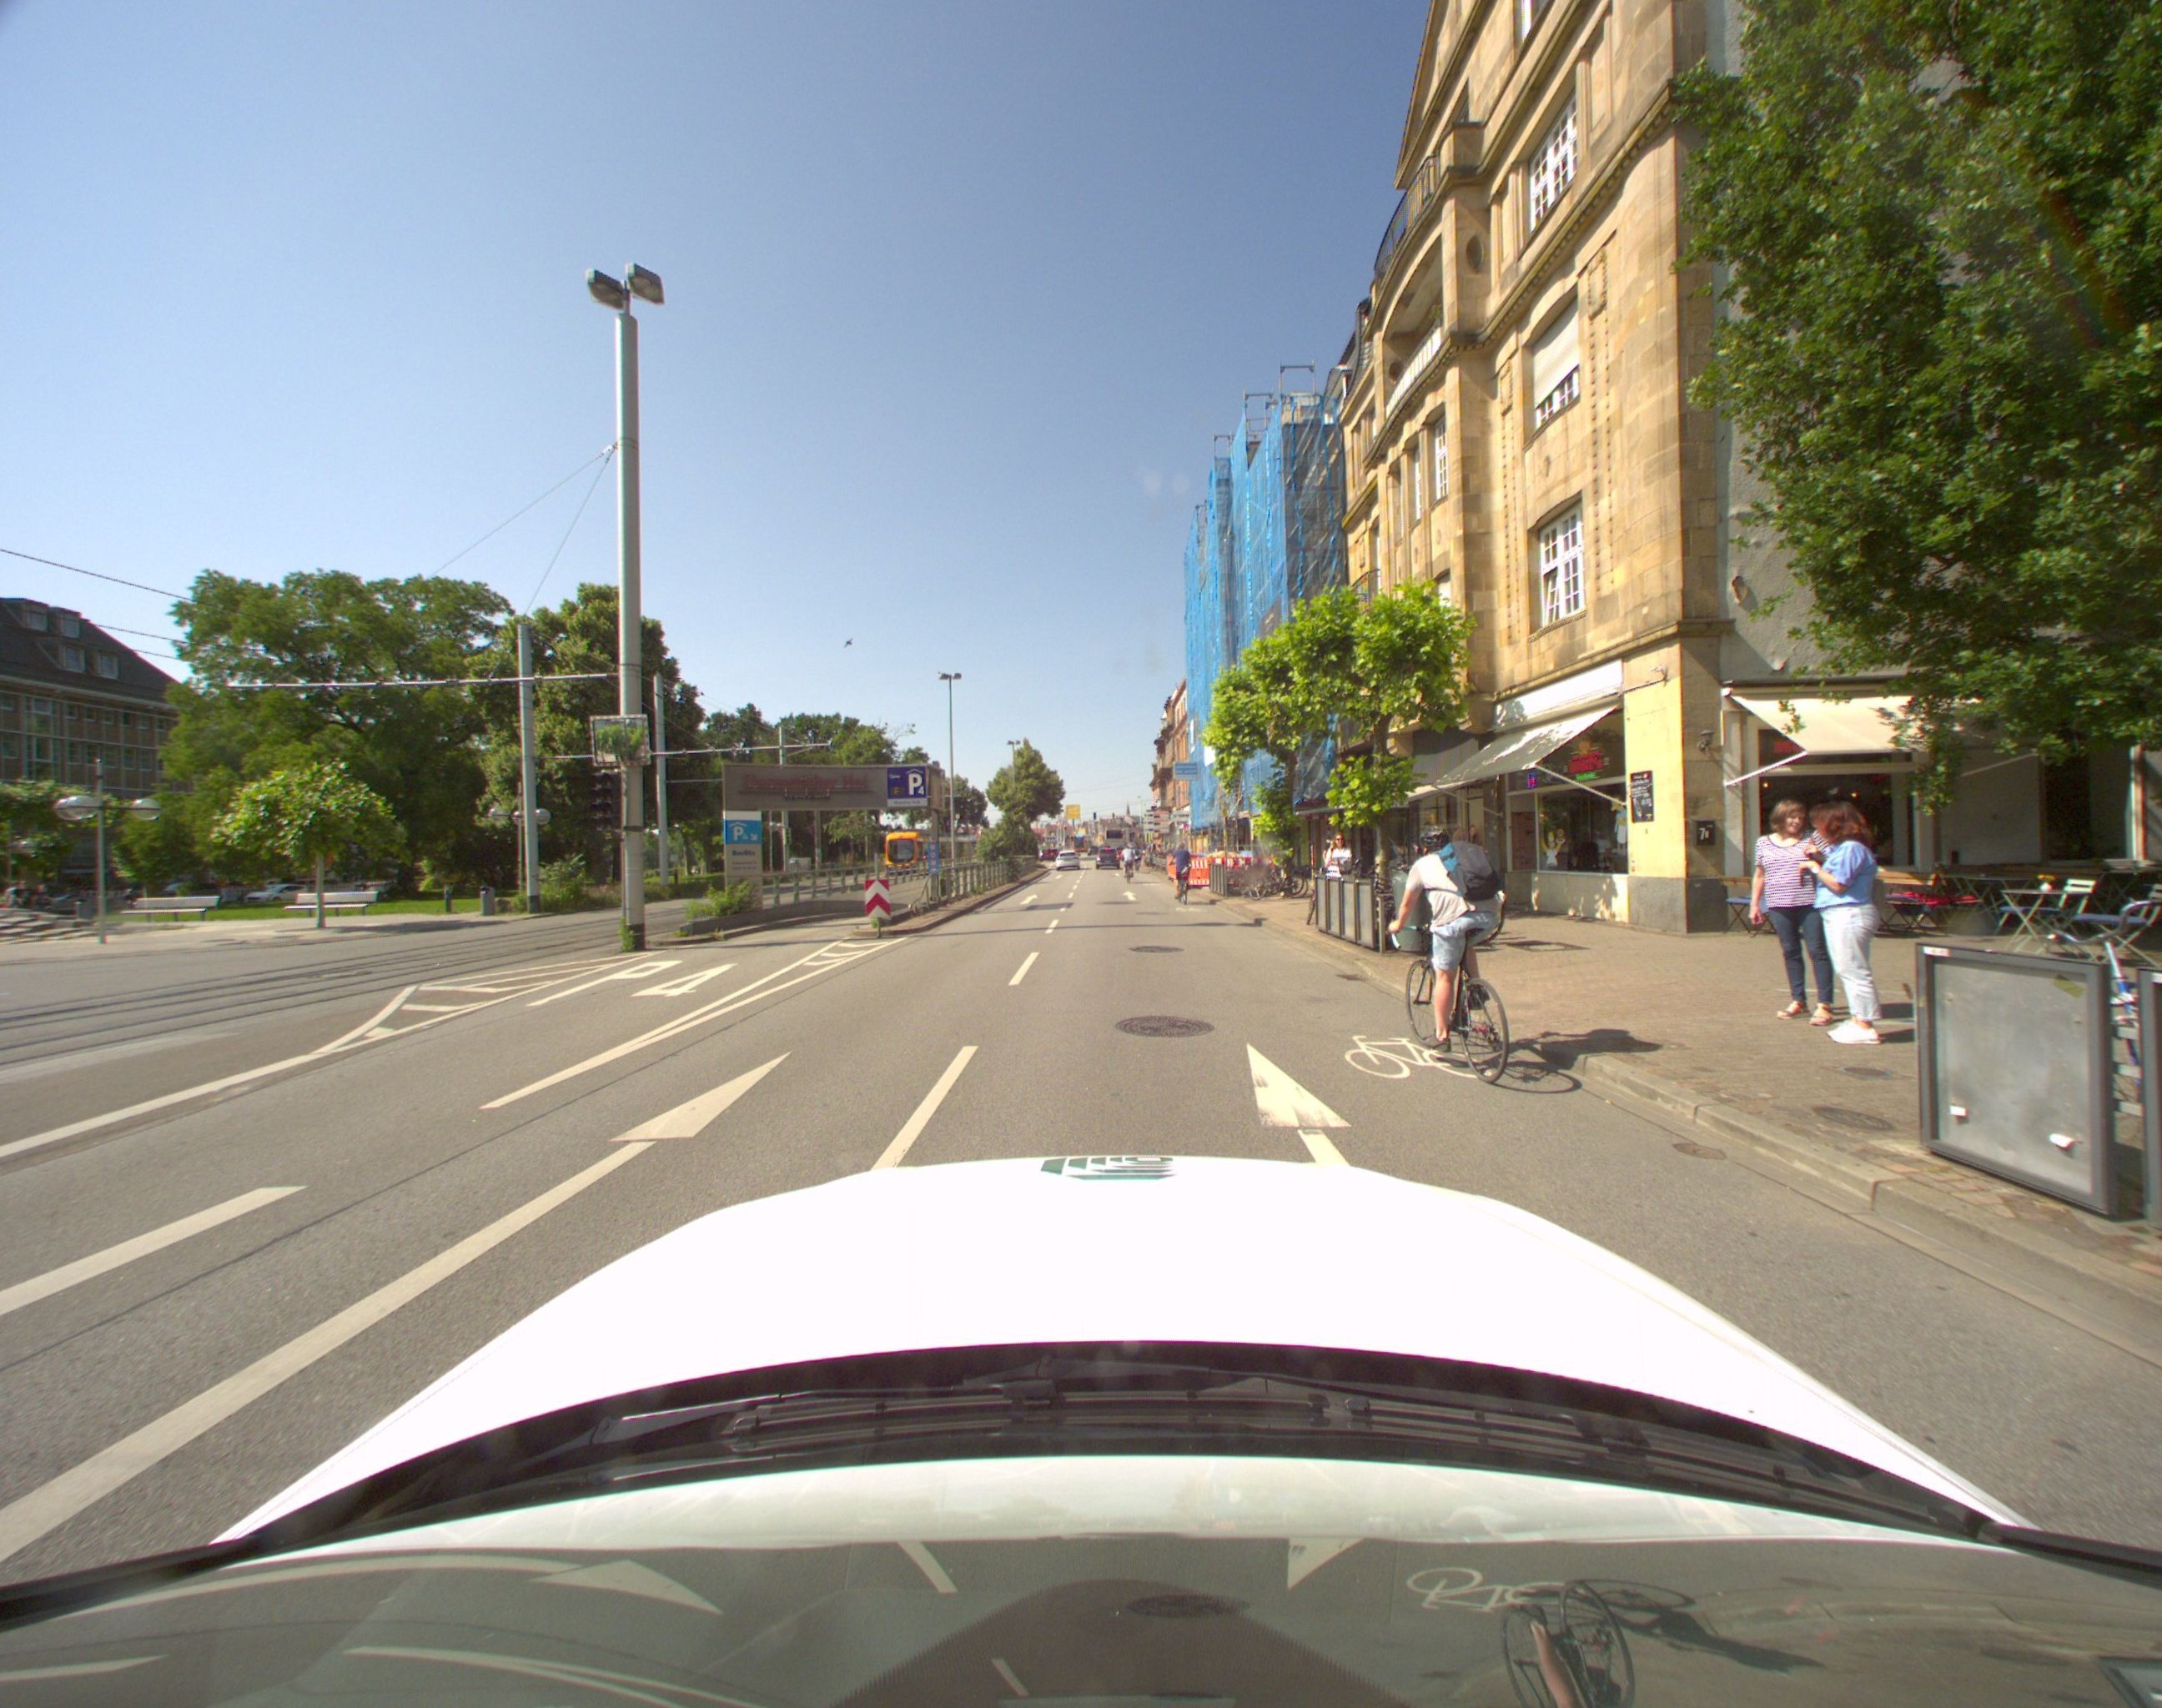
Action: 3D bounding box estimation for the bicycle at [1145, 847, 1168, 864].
[{"bbox_3d":[5.642,0.137,61.191,1.687,1.241,0.609,0,0,1],"label":"bicycle"}]

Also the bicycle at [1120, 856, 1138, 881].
[{"bbox_3d":[2.216,0.667,37.880,0.732,1.093,1.897,0,0,0],"label":"bicycle"}]

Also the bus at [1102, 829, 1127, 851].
[{"bbox_3d":[4.291,-1.723,105.790,2.959,2.776,8.641,0,0,0],"label":"bus"}]

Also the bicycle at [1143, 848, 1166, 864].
[{"bbox_3d":[5.674,0.164,62.979,1.687,1.178,0.451,0,0,1],"label":"bicycle"}]

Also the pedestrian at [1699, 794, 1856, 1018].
[{"bbox_3d":[5.442,0.378,6.389,0.601,1.626,0.640,-4,0,-18],"label":"pedestrian"}]

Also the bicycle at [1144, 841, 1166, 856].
[{"bbox_3d":[5.921,-0.447,65.382,1.687,1.178,0.609,-2,1,1],"label":"bicycle"}]

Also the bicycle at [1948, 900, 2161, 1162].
[{"bbox_3d":[4.934,0.728,3.582,1.747,1.018,0.482,-1,0,-1],"label":"bicycle"}]

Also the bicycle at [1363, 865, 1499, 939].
[{"bbox_3d":[5.203,0.703,12.159,1.747,1.018,0.587,-2,0,-1],"label":"bicycle"}]

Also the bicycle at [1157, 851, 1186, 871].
[{"bbox_3d":[5.364,0.429,48.258,1.687,1.178,0.609,0,0,1],"label":"bicycle"}]

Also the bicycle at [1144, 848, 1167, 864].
[{"bbox_3d":[5.644,0.167,61.811,1.687,1.178,0.497,0,0,1],"label":"bicycle"}]

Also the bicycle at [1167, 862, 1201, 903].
[{"bbox_3d":[2.909,0.782,23.214,0.732,1.093,1.911,0,0,0],"label":"bicycle"}]

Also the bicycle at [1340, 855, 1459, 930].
[{"bbox_3d":[5.300,0.627,13.595,1.747,1.181,0.579,-1,0,-1],"label":"bicycle"}]

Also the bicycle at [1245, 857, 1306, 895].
[{"bbox_3d":[5.666,0.629,23.720,1.758,1.018,0.480,-1,0,-20],"label":"bicycle"}]

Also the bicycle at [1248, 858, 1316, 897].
[{"bbox_3d":[5.576,0.652,22.642,1.747,1.018,0.482,-1,0,-1],"label":"bicycle"}]

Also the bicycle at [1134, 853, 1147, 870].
[{"bbox_3d":[3.733,0.460,51.328,0.731,1.093,1.898,0,0,1],"label":"bicycle"}]

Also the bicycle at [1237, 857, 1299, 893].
[{"bbox_3d":[5.612,0.631,24.526,1.747,1.018,0.482,-1,0,-1],"label":"bicycle"}]

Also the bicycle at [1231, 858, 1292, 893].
[{"bbox_3d":[5.561,0.650,25.125,1.747,1.018,0.482,-1,0,-1],"label":"bicycle"}]

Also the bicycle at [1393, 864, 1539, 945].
[{"bbox_3d":[5.175,0.666,10.988,1.747,1.018,0.482,-1,0,-1],"label":"bicycle"}]

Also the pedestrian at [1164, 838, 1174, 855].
[{"bbox_3d":[8.793,-0.738,81.570,0.753,1.655,0.837,-5,-1,0],"label":"pedestrian"}]

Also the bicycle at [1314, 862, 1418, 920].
[{"bbox_3d":[5.240,0.672,14.993,1.737,1.018,0.661,-1,0,23],"label":"bicycle"}]

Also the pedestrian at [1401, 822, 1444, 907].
[{"bbox_3d":[7.023,0.214,16.763,0.537,1.683,0.496,-3,-1,-20],"label":"pedestrian"}]

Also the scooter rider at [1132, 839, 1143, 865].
[{"bbox_3d":[3.896,-0.150,55.890,0.686,1.729,0.778,0,0,0],"label":"scooter rider"}]

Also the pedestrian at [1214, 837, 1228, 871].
[{"bbox_3d":[7.505,-0.003,43.567,0.637,1.776,0.649,0,0,1],"label":"pedestrian"}]

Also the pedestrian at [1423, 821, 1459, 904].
[{"bbox_3d":[7.494,0.170,16.965,0.476,1.683,0.379,-2,-1,-19],"label":"pedestrian"}]

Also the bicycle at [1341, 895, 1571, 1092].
[{"bbox_3d":[2.644,0.908,6.063,0.732,1.093,2.130,0,0,0],"label":"bicycle"}]

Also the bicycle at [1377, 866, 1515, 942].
[{"bbox_3d":[5.171,0.699,11.575,1.747,1.018,0.482,-1,0,-1],"label":"bicycle"}]

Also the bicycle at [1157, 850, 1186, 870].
[{"bbox_3d":[5.460,0.349,49.007,1.687,1.178,0.609,0,0,1],"label":"bicycle"}]

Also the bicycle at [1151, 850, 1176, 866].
[{"bbox_3d":[5.620,0.277,55.444,1.687,1.087,0.609,0,0,1],"label":"bicycle"}]

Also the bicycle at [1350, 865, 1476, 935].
[{"bbox_3d":[5.185,0.708,12.777,1.747,1.018,0.557,-1,0,-1],"label":"bicycle"}]

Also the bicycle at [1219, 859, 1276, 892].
[{"bbox_3d":[5.437,0.699,26.598,1.747,1.018,0.482,-1,0,-1],"label":"bicycle"}]

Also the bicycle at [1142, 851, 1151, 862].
[{"bbox_3d":[6.311,0.215,78.652,0.731,1.093,1.898,0,0,1],"label":"bicycle"}]

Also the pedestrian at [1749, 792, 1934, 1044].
[{"bbox_3d":[5.264,0.419,5.695,0.689,1.626,0.706,-3,0,23],"label":"pedestrian"}]

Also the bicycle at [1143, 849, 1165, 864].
[{"bbox_3d":[5.707,0.191,63.505,1.687,1.178,0.463,0,0,1],"label":"bicycle"}]
